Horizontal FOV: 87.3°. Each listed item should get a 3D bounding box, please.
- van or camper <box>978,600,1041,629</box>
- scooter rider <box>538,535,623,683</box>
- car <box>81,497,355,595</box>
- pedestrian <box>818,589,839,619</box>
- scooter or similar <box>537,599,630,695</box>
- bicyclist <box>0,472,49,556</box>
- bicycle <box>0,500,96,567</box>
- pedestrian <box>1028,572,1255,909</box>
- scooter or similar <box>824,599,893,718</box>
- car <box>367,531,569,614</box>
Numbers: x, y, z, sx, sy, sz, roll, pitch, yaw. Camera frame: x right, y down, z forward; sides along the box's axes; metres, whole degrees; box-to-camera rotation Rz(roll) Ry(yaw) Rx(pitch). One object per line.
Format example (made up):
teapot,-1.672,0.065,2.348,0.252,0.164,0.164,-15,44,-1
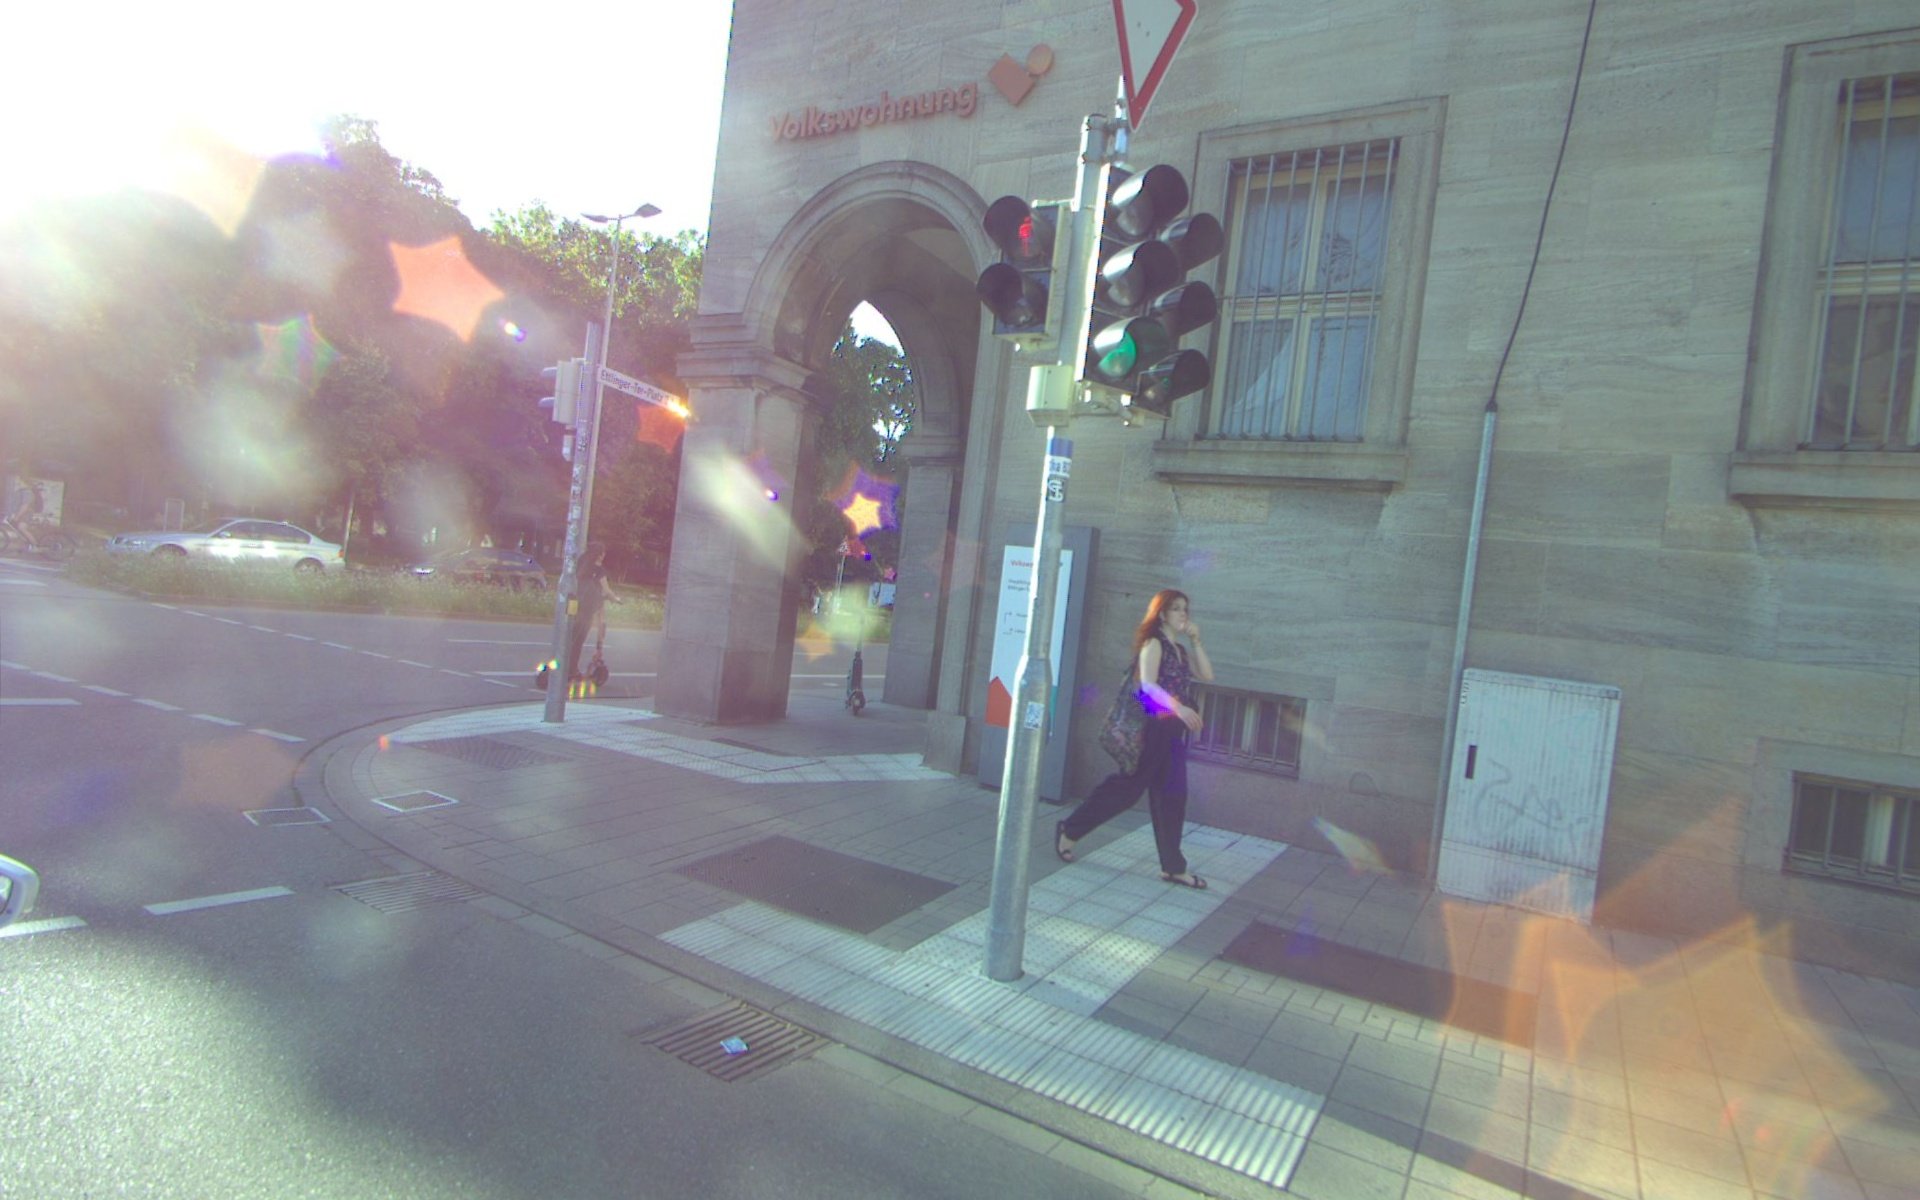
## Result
van or camper,4.799,1.420,97.432,5.590,2.037,2.254,6,-2,33
scooter rider,-4.491,0.111,11.944,0.552,1.652,0.650,7,1,4
car,-16.726,-1.158,22.938,1.967,1.580,4.540,7,0,32
pedestrian,-7.642,0.223,58.351,0.733,1.661,0.724,7,1,35
scooter or similar,-4.520,0.547,12.147,0.546,1.044,1.118,7,0,4
bicyclist,-20.482,-1.868,21.905,0.833,1.699,0.774,6,0,-44
bicycle,-20.437,-1.485,21.994,2.235,1.255,0.768,7,0,-44
pedestrian,1.013,0.709,5.605,0.903,1.645,0.735,7,5,32
scooter or similar,-1.143,0.656,11.569,0.630,1.238,1.264,5,-1,-3
car,-13.441,-0.691,27.759,1.967,1.696,4.540,7,0,32
